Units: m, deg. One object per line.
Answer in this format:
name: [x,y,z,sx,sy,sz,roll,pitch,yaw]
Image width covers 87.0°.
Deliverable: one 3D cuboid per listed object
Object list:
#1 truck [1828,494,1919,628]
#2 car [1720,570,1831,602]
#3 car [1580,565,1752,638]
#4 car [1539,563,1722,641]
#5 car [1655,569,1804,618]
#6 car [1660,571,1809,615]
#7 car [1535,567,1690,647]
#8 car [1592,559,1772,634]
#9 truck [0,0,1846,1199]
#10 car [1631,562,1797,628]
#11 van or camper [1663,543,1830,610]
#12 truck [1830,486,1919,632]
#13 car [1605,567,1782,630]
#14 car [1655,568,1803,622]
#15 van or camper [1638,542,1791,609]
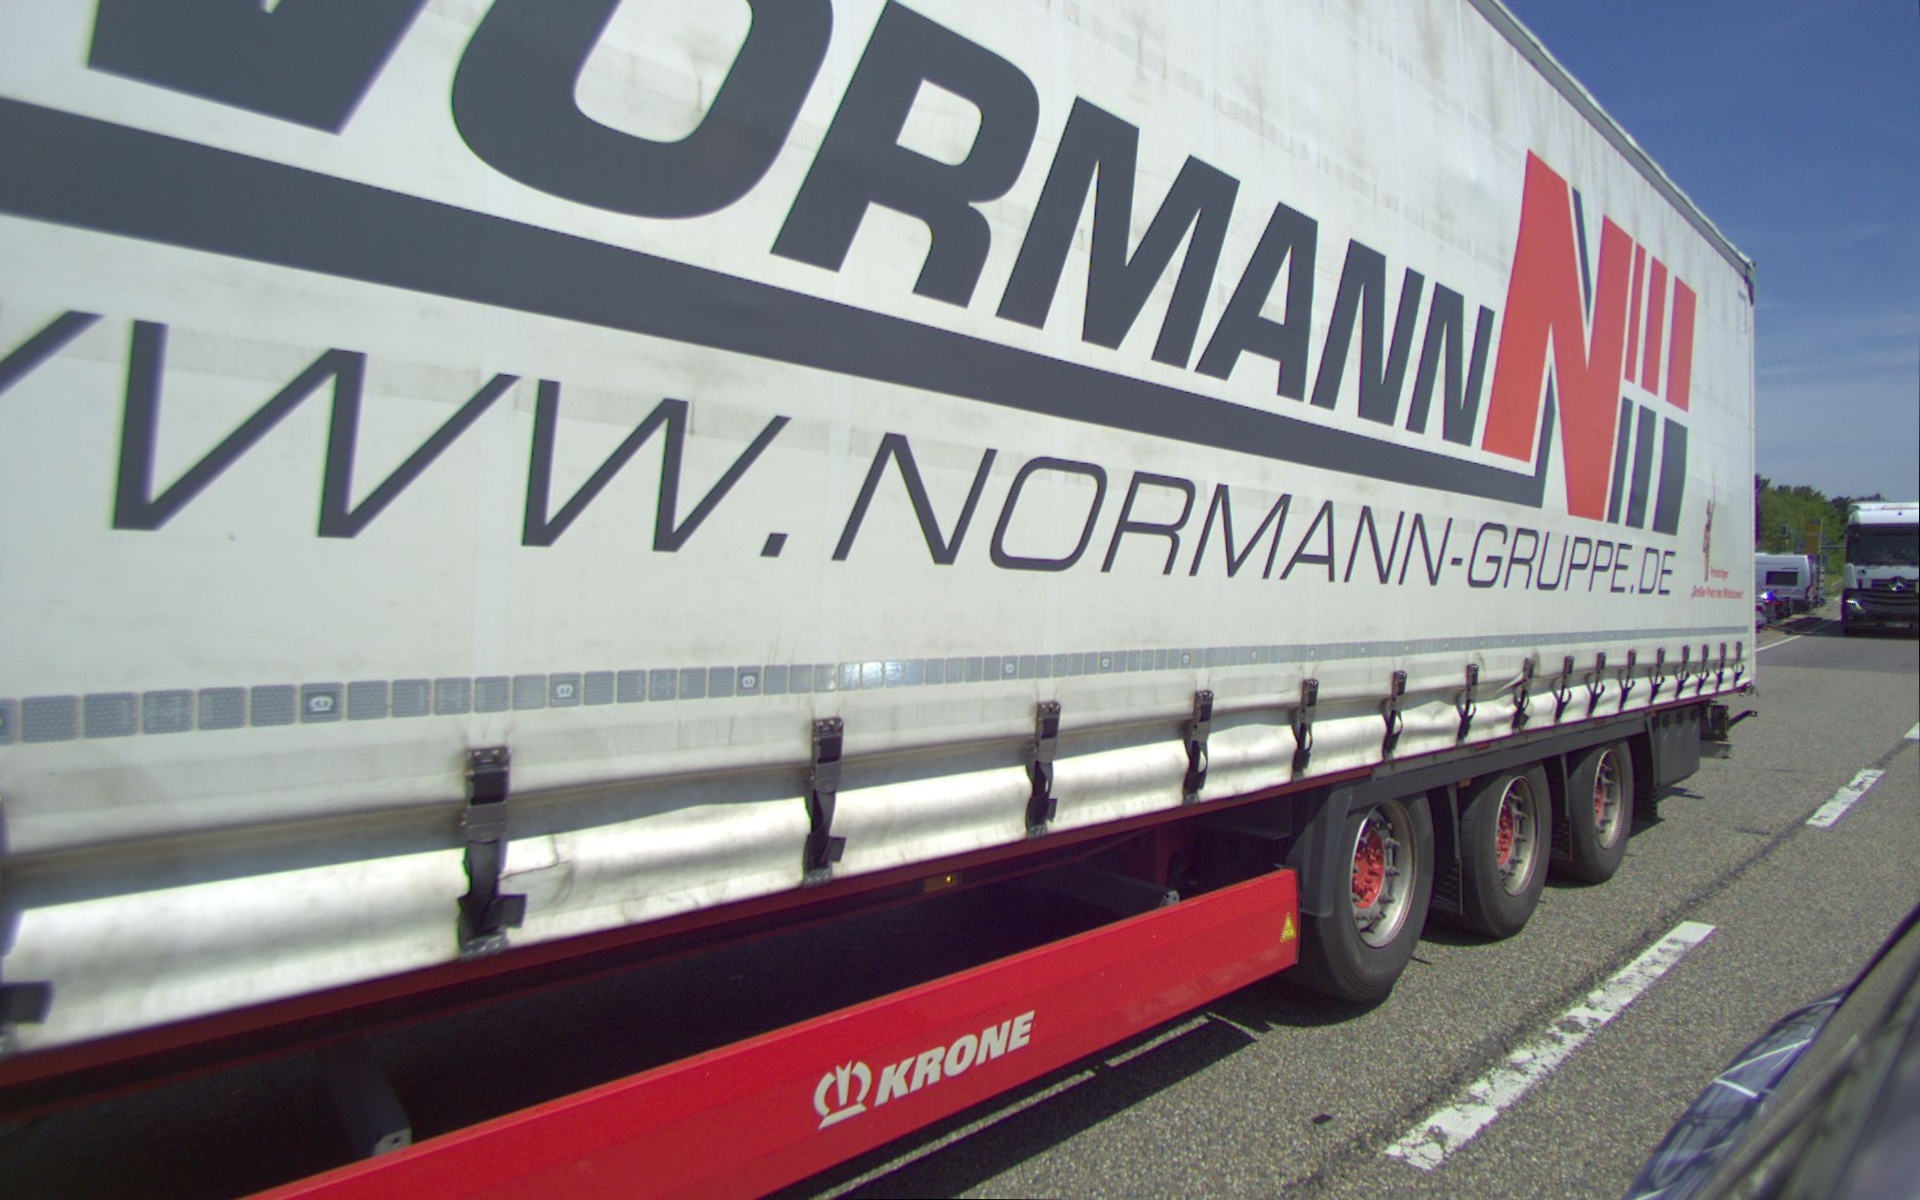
truck: [33.439,-1.369,36.451,2.971,4.057,13.917,5,4,40]
car: [41.476,-0.767,51.509,4.323,1.517,2.050,2,2,42]
car: [19.211,-0.018,27.598,3.529,1.495,1.805,10,8,42]
car: [17.043,-0.008,25.809,3.529,1.495,1.805,10,8,42]
car: [29.249,-0.305,38.531,4.265,1.429,2.131,8,6,42]
car: [30.989,-0.336,40.612,1.754,1.537,4.518,-1,4,-44]
car: [14.731,0.079,22.782,3.935,1.449,1.997,-2,8,-45]
car: [20.879,-0.161,29.370,1.912,1.711,3.861,-1,7,-45]
truck: [-0.927,-0.717,2.907,17.329,4.145,2.978,-1,1,-41]
car: [24.576,-0.232,33.214,3.993,1.693,2.178,6,5,31]
van or camper: [34.369,-1.090,44.368,2.195,2.763,5.481,-1,3,-44]
truck: [28.516,-1.215,30.660,2.972,4.058,6.235,5,4,40]
car: [22.489,-0.101,31.134,4.138,1.438,1.765,9,7,42]
car: [27.715,-0.234,36.526,4.011,1.499,1.949,8,6,42]
van or camper: [35.074,-1.188,47.182,2.195,2.941,5.374,-1,3,-44]
